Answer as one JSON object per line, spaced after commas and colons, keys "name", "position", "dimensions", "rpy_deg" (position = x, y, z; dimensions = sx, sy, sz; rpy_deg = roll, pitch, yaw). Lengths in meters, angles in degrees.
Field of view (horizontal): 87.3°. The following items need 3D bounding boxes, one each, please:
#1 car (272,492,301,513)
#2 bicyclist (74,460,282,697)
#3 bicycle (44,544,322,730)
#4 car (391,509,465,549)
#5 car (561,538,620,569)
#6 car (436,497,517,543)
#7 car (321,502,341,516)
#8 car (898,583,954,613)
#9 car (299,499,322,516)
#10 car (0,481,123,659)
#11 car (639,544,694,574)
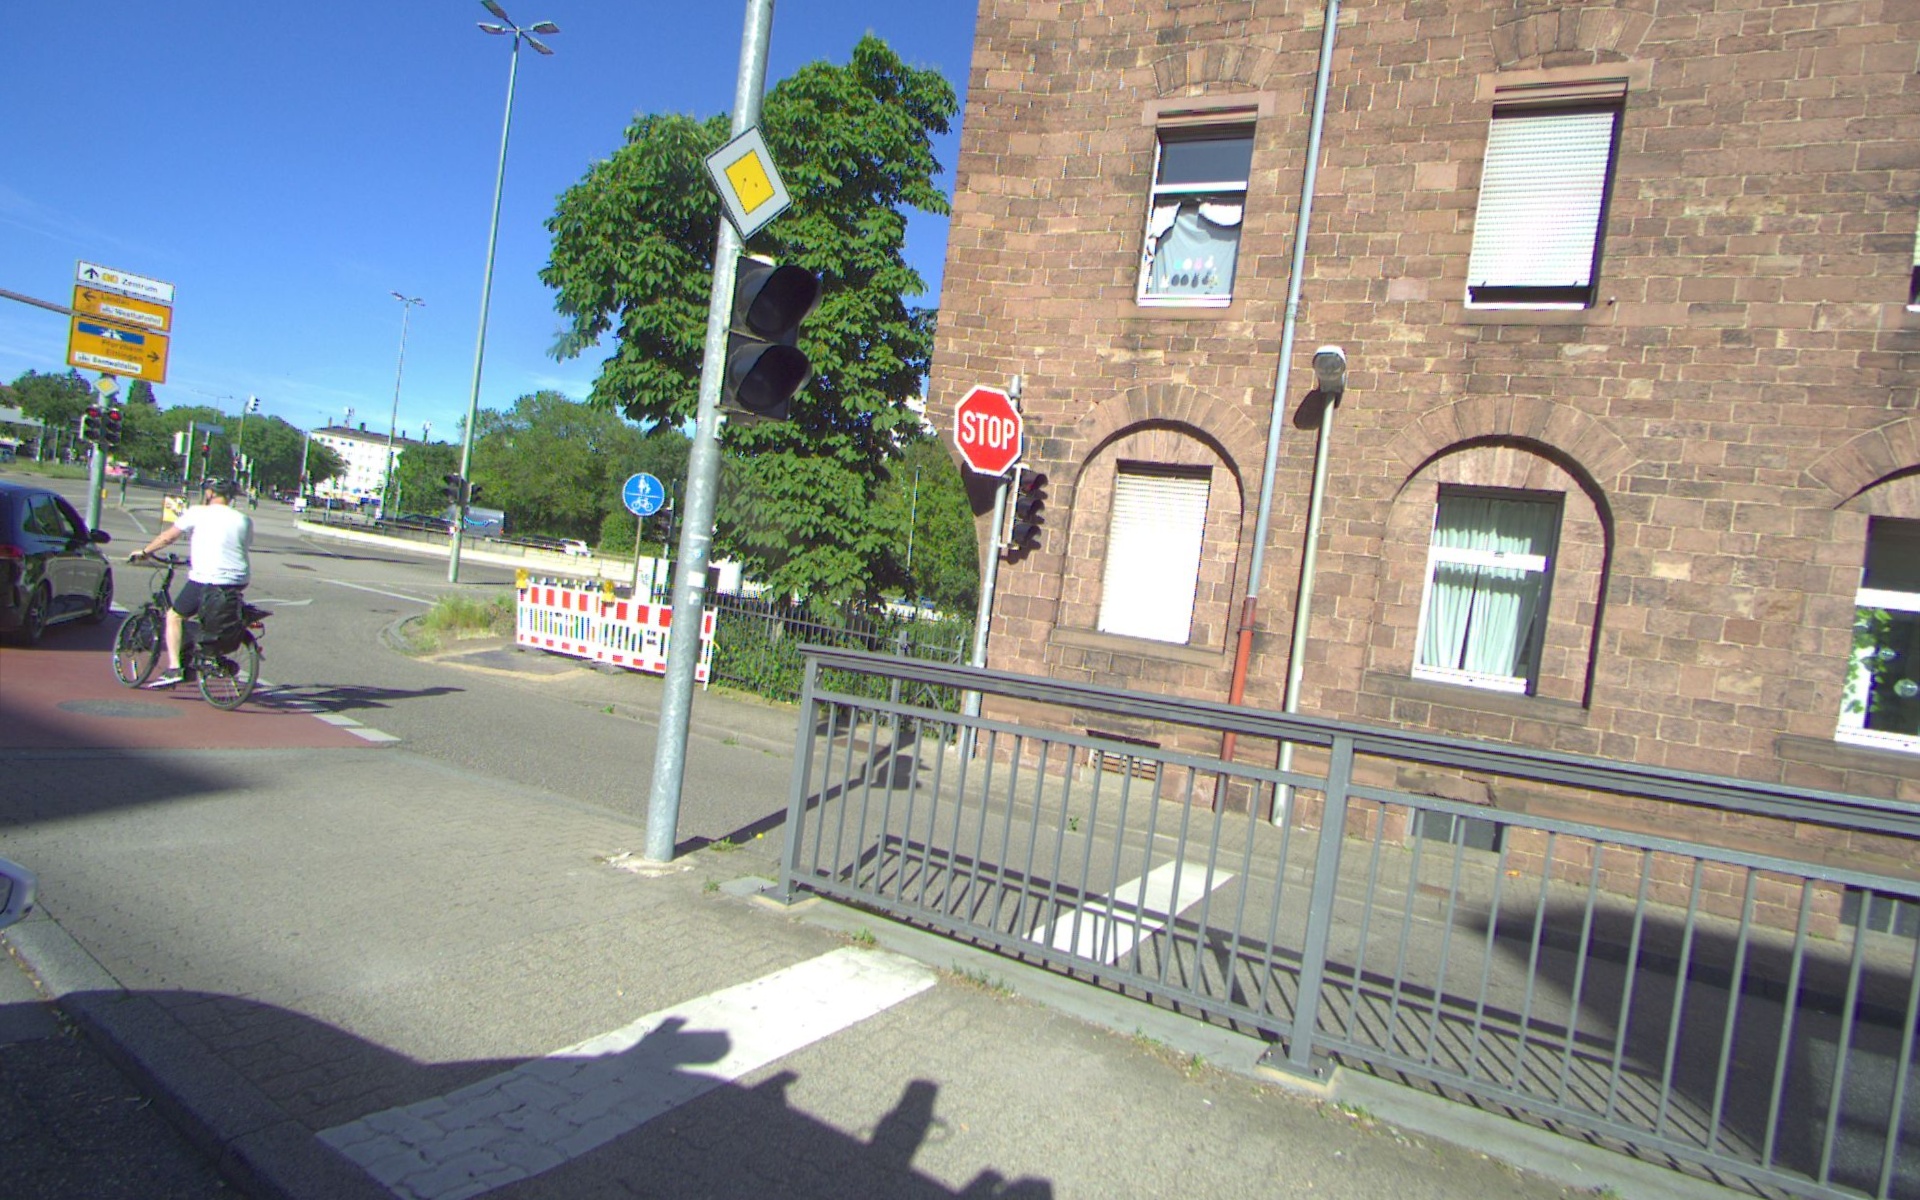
{"name": "car", "position": [-75.973, -10.965, 113.526], "dimensions": [1.975, 1.815, 3.978], "rpy_deg": [7, -2, -24]}
{"name": "bicyclist", "position": [-6.307, -0.162, 8.125], "dimensions": [1.066, 1.725, 0.801], "rpy_deg": [8, 0, 29]}
{"name": "bicycle", "position": [-6.267, 0.267, 8.072], "dimensions": [2.361, 1.124, 0.801], "rpy_deg": [8, -1, 29]}
{"name": "car", "position": [-36.134, -4.805, 68.406], "dimensions": [3.939, 2.037, 1.995], "rpy_deg": [7, -1, -16]}
{"name": "car", "position": [-28.491, -3.532, 77.667], "dimensions": [3.939, 1.770, 1.995], "rpy_deg": [7, -2, -16]}
{"name": "car", "position": [-36.528, -5.999, 76.117], "dimensions": [4.799, 2.638, 2.261], "rpy_deg": [7, -1, -4]}
{"name": "car", "position": [-93.170, -13.481, 149.041], "dimensions": [1.975, 1.660, 3.974], "rpy_deg": [7, 1, -25]}
{"name": "car", "position": [-2.895, -0.191, 85.523], "dimensions": [4.194, 1.878, 2.012], "rpy_deg": [8, 1, -15]}
{"name": "car", "position": [-84.372, -11.987, 130.693], "dimensions": [1.977, 1.816, 3.970], "rpy_deg": [7, 1, -28]}
{"name": "car", "position": [-10.050, -0.475, 10.164], "dimensions": [1.740, 1.511, 3.966], "rpy_deg": [9, -1, -32]}
{"name": "car", "position": [-23.124, -3.219, 79.329], "dimensions": [3.939, 1.703, 1.852], "rpy_deg": [7, -2, -16]}
